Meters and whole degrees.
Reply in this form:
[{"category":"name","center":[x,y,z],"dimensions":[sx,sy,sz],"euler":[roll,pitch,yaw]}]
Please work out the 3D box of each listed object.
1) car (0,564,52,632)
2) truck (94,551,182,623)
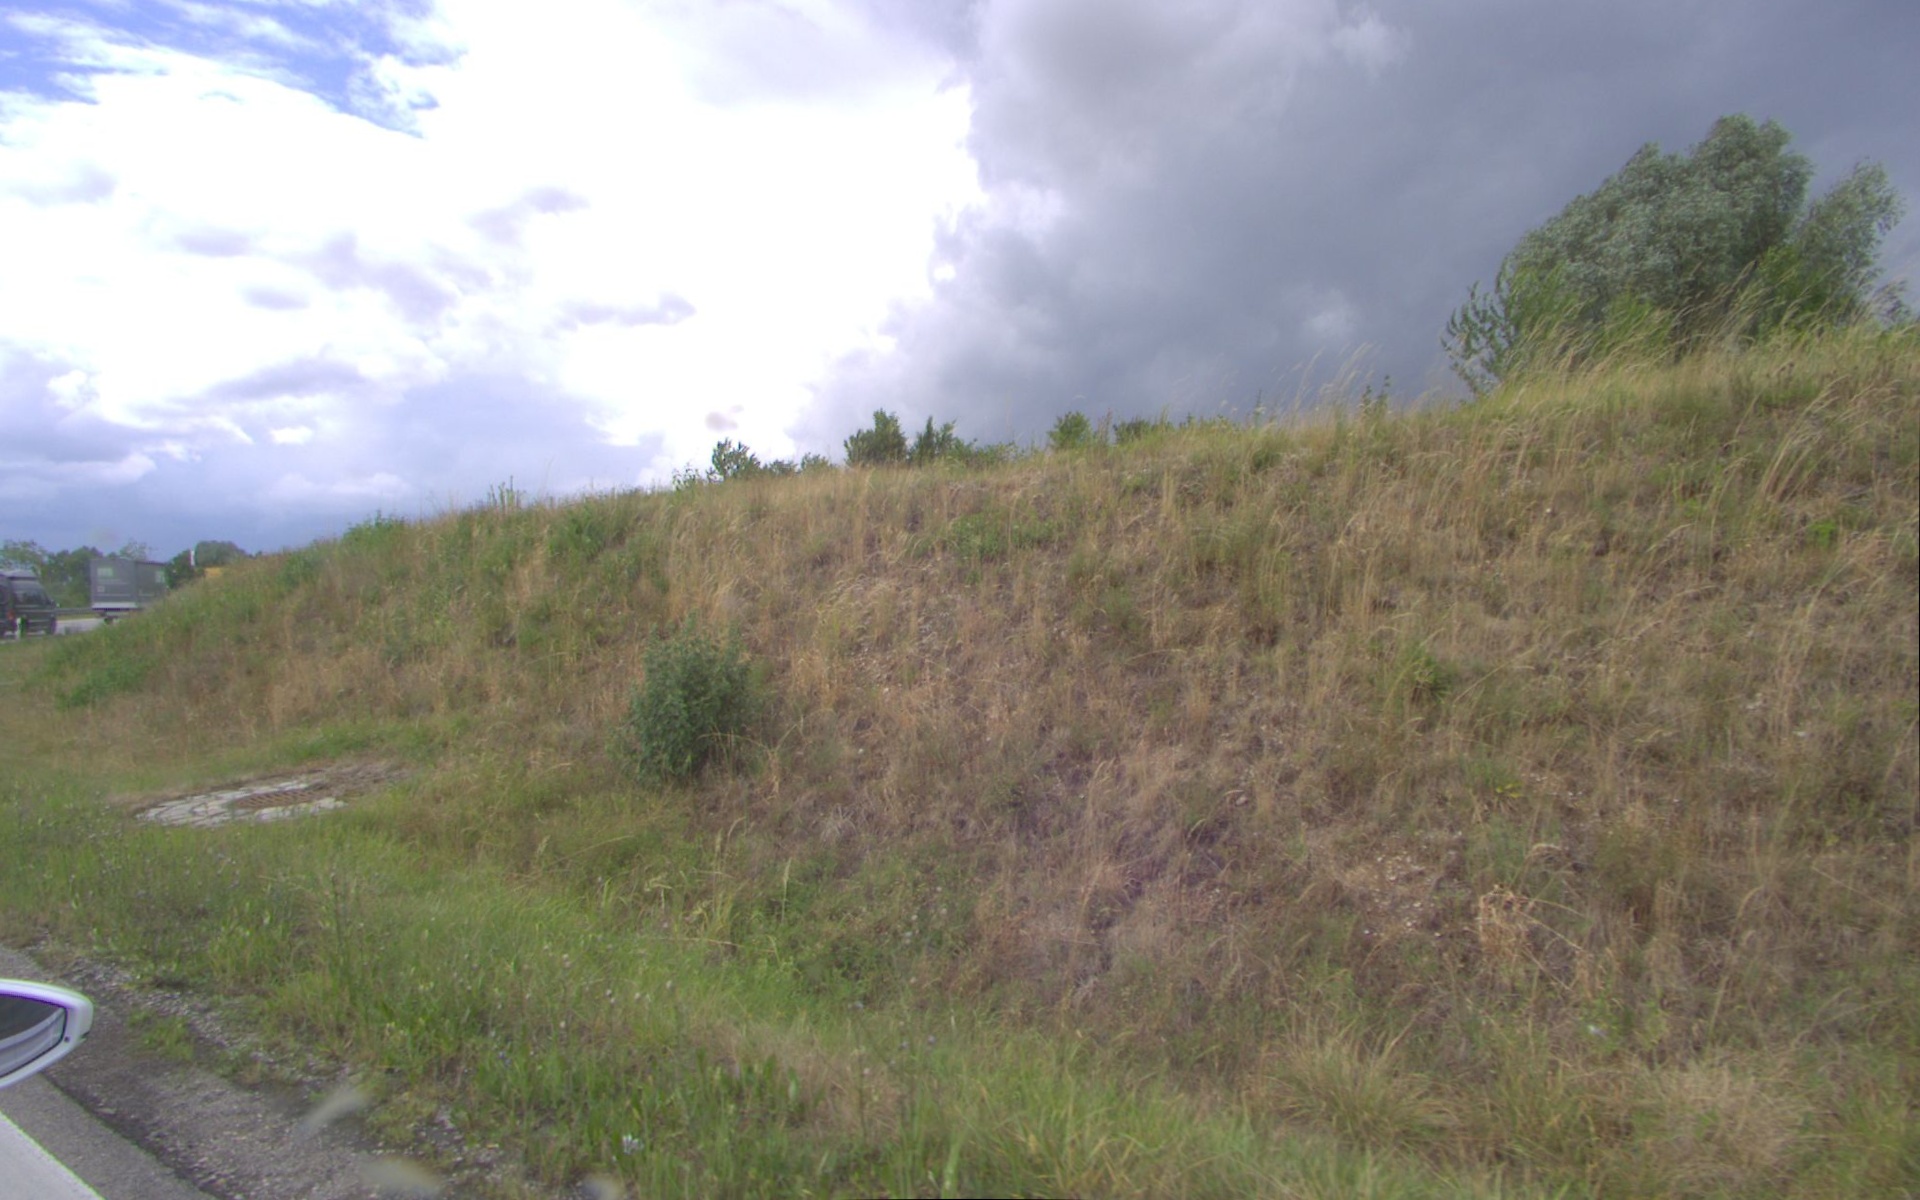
[{"category":"car","center":[-41.062,-0.047,43.068],"dimensions":[2.081,2.832,3.981],"euler":[1,-1,-29]},{"category":"truck","center":[-48.862,-0.670,59.687],"dimensions":[2.198,3.956,6.003],"euler":[0,-2,-20]}]
